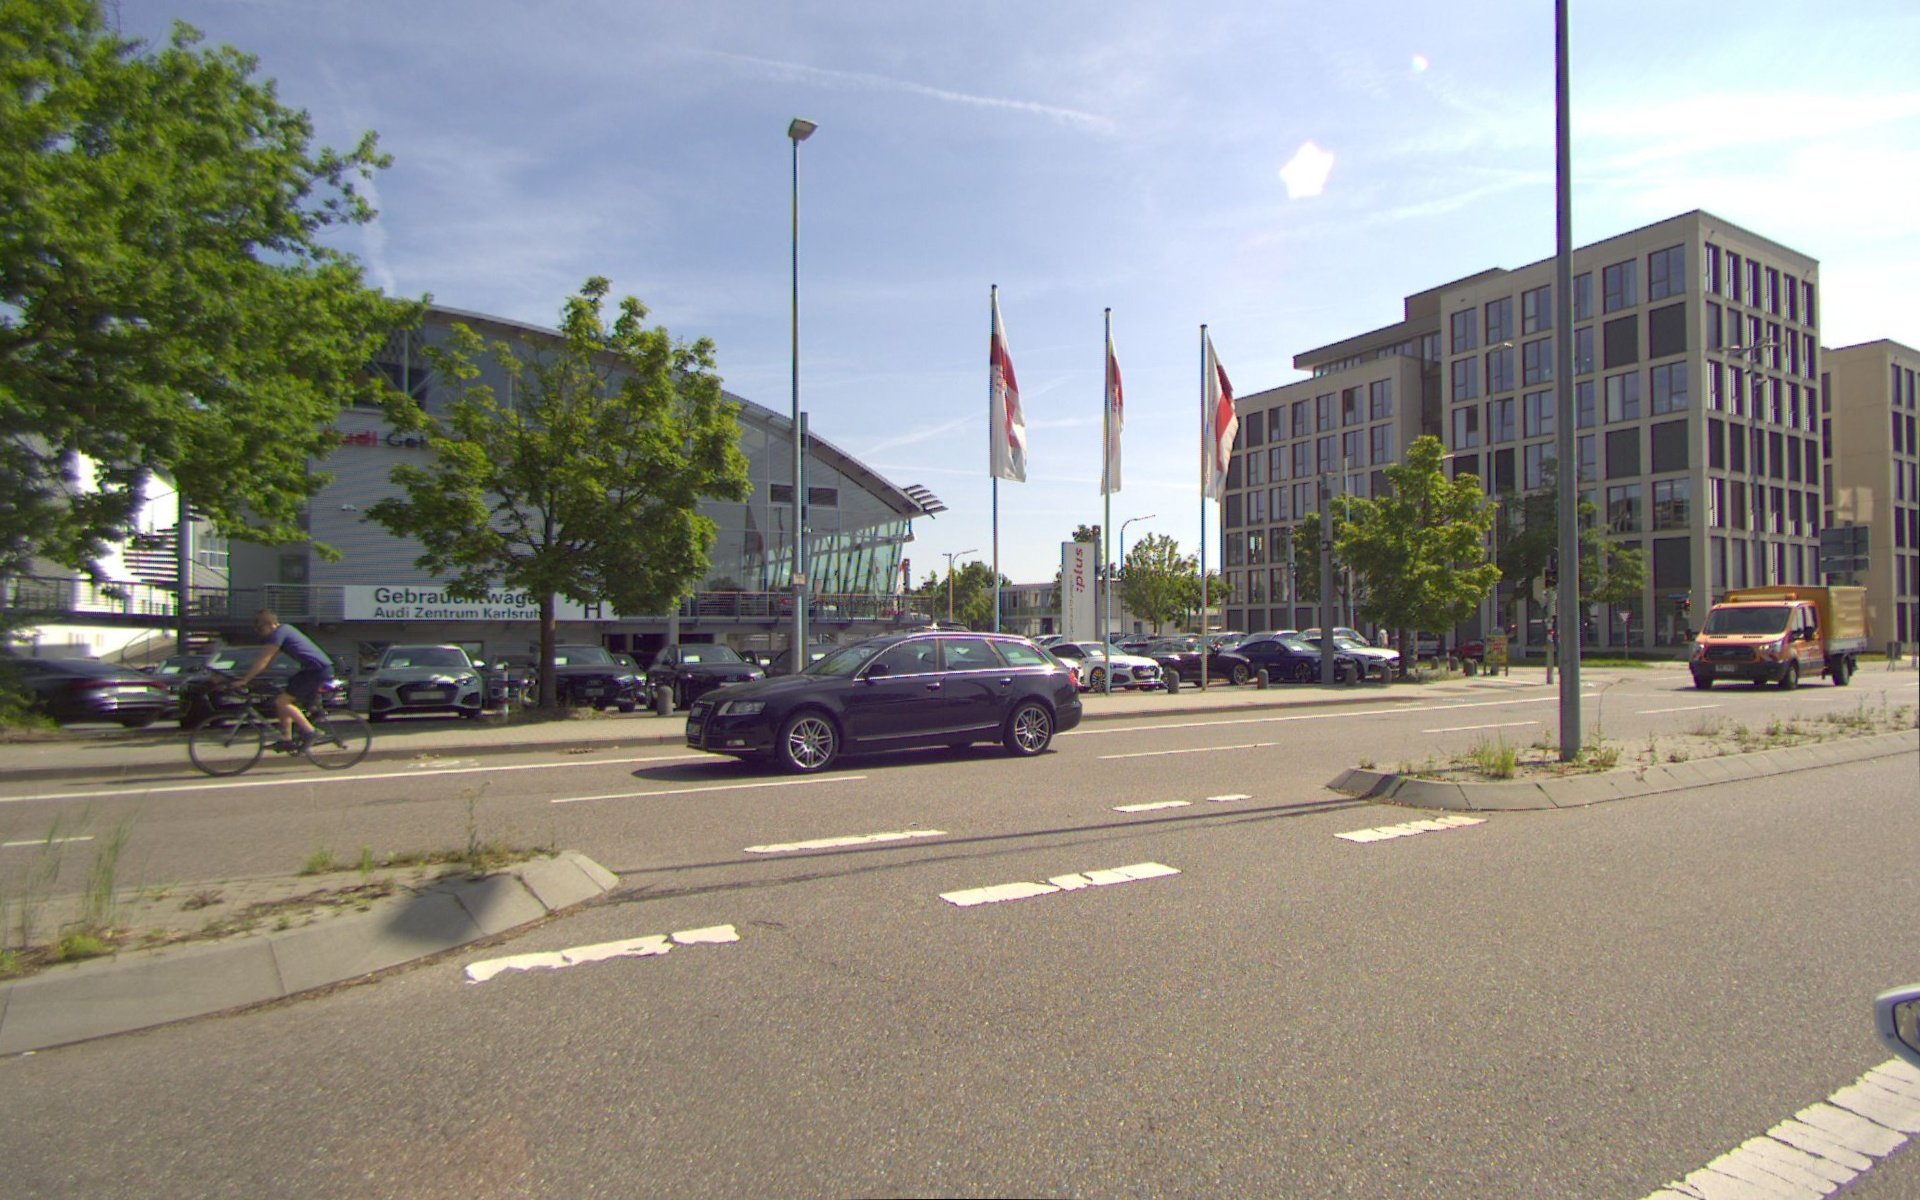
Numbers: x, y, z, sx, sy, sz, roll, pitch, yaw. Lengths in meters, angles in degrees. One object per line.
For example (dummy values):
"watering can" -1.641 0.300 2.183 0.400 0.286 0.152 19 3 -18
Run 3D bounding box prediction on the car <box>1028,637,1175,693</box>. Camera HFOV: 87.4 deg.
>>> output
"car" 3.758 1.812 27.427 1.856 1.387 4.055 1 -5 -30

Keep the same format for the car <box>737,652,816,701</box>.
"car" -6.184 2.528 33.686 1.506 1.492 3.490 1 -2 -31

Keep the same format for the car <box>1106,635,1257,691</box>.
"car" 6.614 1.826 29.905 4.373 1.515 1.789 1 -2 -30

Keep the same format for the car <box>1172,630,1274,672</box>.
"car" 11.443 2.174 43.644 4.325 1.564 1.779 -2 -1 -31

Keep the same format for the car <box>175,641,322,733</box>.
"car" -12.423 1.522 17.772 1.788 1.420 4.006 1 -5 -31

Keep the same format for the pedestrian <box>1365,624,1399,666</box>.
"pedestrian" 18.171 1.943 43.295 0.906 1.772 0.996 1 -2 -30

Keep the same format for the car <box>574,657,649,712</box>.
"car" -10.784 2.542 30.977 1.570 1.492 3.491 1 -2 -30

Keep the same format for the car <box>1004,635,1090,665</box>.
"car" 4.781 2.715 55.219 4.506 1.461 1.779 -1 -1 -31

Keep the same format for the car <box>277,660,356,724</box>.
"car" -17.421 2.442 27.313 1.671 1.492 3.798 1 -2 -31

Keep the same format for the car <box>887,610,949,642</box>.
"car" -2.834 1.701 67.035 2.066 1.932 4.508 5 -4 -32

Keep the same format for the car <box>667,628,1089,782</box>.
"car" -0.871 1.118 11.774 4.612 1.478 1.837 1 -4 -32

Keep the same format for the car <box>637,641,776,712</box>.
"car" -5.631 1.676 21.927 1.809 1.372 4.261 1 -5 -31

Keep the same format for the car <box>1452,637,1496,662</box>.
"car" 31.735 3.020 62.142 1.772 1.434 4.031 -1 -2 18

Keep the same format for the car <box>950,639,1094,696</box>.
"car" 1.514 1.785 26.094 1.846 1.336 3.970 1 -5 -30

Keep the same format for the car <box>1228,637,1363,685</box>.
"car" 10.433 1.873 31.471 1.744 1.421 3.815 1 -3 -31

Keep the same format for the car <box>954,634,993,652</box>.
"car" 1.526 4.940 115.849 4.189 1.965 1.885 1 -2 -30

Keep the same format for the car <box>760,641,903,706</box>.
"car" -3.085 1.718 23.379 1.833 1.352 4.157 1 -5 -30

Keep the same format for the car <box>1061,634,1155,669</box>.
"car" 7.450 2.557 50.503 4.578 1.461 1.779 -2 -1 -31

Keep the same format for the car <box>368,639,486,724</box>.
"car" -10.167 1.543 19.059 1.781 1.412 4.197 1 -5 -30

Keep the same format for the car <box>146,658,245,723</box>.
"car" -19.726 2.282 26.055 1.671 1.456 3.797 1 -2 -32

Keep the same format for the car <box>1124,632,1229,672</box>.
"car" 9.851 2.321 45.632 4.722 1.525 1.779 -2 -1 -31

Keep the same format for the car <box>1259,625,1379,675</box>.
"car" 13.858 1.901 38.728 4.540 1.635 1.805 -2 -1 -30

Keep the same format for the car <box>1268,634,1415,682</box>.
"car" 12.422 1.854 32.967 1.876 1.451 4.356 1 -2 -28

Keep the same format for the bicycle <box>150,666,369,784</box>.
"bicycle" -7.640 1.332 11.070 1.900 1.165 0.569 1 -2 -28

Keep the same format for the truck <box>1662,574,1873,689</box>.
"truck" 21.115 0.863 26.167 6.604 2.658 2.361 1 -4 -34

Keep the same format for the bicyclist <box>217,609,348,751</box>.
"bicyclist" -7.492 0.857 11.154 1.129 1.502 0.568 1 -2 -28

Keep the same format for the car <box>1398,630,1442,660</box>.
"car" 29.858 2.902 65.303 1.860 1.845 4.816 -1 -2 16

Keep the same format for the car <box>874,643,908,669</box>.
"car" -4.070 3.298 59.785 1.762 1.461 4.028 0 -2 -1

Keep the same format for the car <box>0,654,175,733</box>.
"car" -17.173 1.736 18.850 3.762 1.350 1.691 -1 -2 8

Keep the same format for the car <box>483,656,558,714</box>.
"car" -13.111 2.466 29.859 1.670 1.492 3.643 1 -2 -30

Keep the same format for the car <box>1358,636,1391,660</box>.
"car" 28.020 3.238 67.987 1.772 1.533 4.000 -1 -2 19

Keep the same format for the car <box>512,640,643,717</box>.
"car" -7.893 1.607 20.500 1.814 1.372 4.091 1 -5 -31
